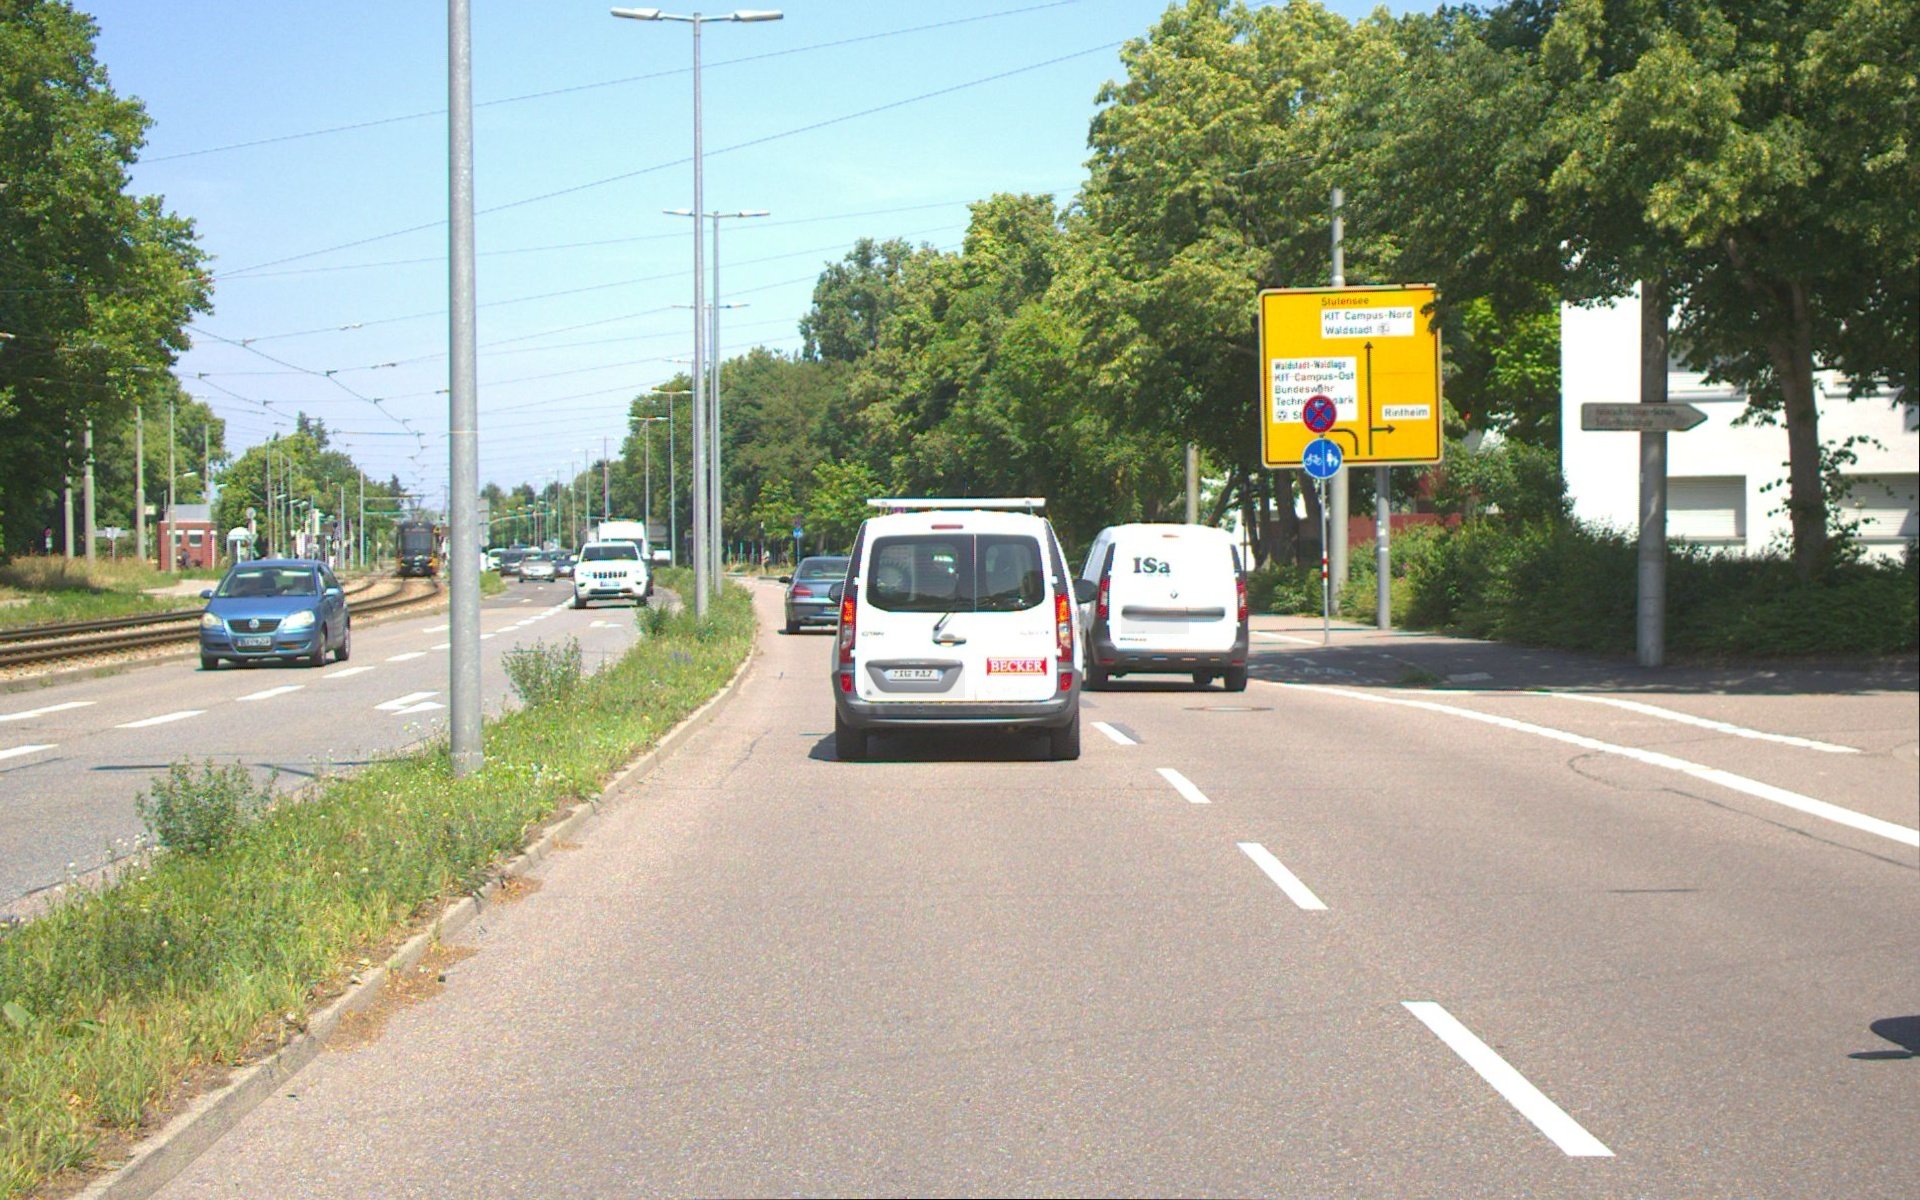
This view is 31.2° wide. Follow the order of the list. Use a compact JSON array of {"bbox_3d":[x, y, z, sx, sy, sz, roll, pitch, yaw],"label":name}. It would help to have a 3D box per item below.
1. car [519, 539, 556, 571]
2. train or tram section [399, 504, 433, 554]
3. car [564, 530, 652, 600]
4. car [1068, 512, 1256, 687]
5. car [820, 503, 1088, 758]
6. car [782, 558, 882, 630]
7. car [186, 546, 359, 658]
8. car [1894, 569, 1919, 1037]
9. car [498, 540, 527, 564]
[{"bbox_3d":[-21.322,-2.293,173.566,1.746,1.561,4.001,1,1,-5],"label":"car"},{"bbox_3d":[-35.183,-4.527,221.961,1.993,3.076,16.172,1,1,-9],"label":"train or tram section"},{"bbox_3d":[-9.399,-0.952,92.008,1.993,1.809,4.000,0,1,-1],"label":"car"},{"bbox_3d":[2.172,-0.036,37.857,1.727,1.782,4.065,1,1,-1],"label":"car"},{"bbox_3d":[-0.042,0.167,25.934,1.821,1.733,4.396,1,1,0],"label":"car"},{"bbox_3d":[-2.284,-0.123,62.071,1.692,1.211,3.590,1,1,-1],"label":"car"},{"bbox_3d":[-9.372,-0.003,47.116,1.697,1.434,4.001,-1,1,-2],"label":"car"},{"bbox_3d":[3.818,0.688,9.173,1.609,1.442,3.436,1,2,-1],"label":"car"},{"bbox_3d":[-29.946,-3.189,230.084,1.746,1.561,4.001,1,1,-5],"label":"car"}]
